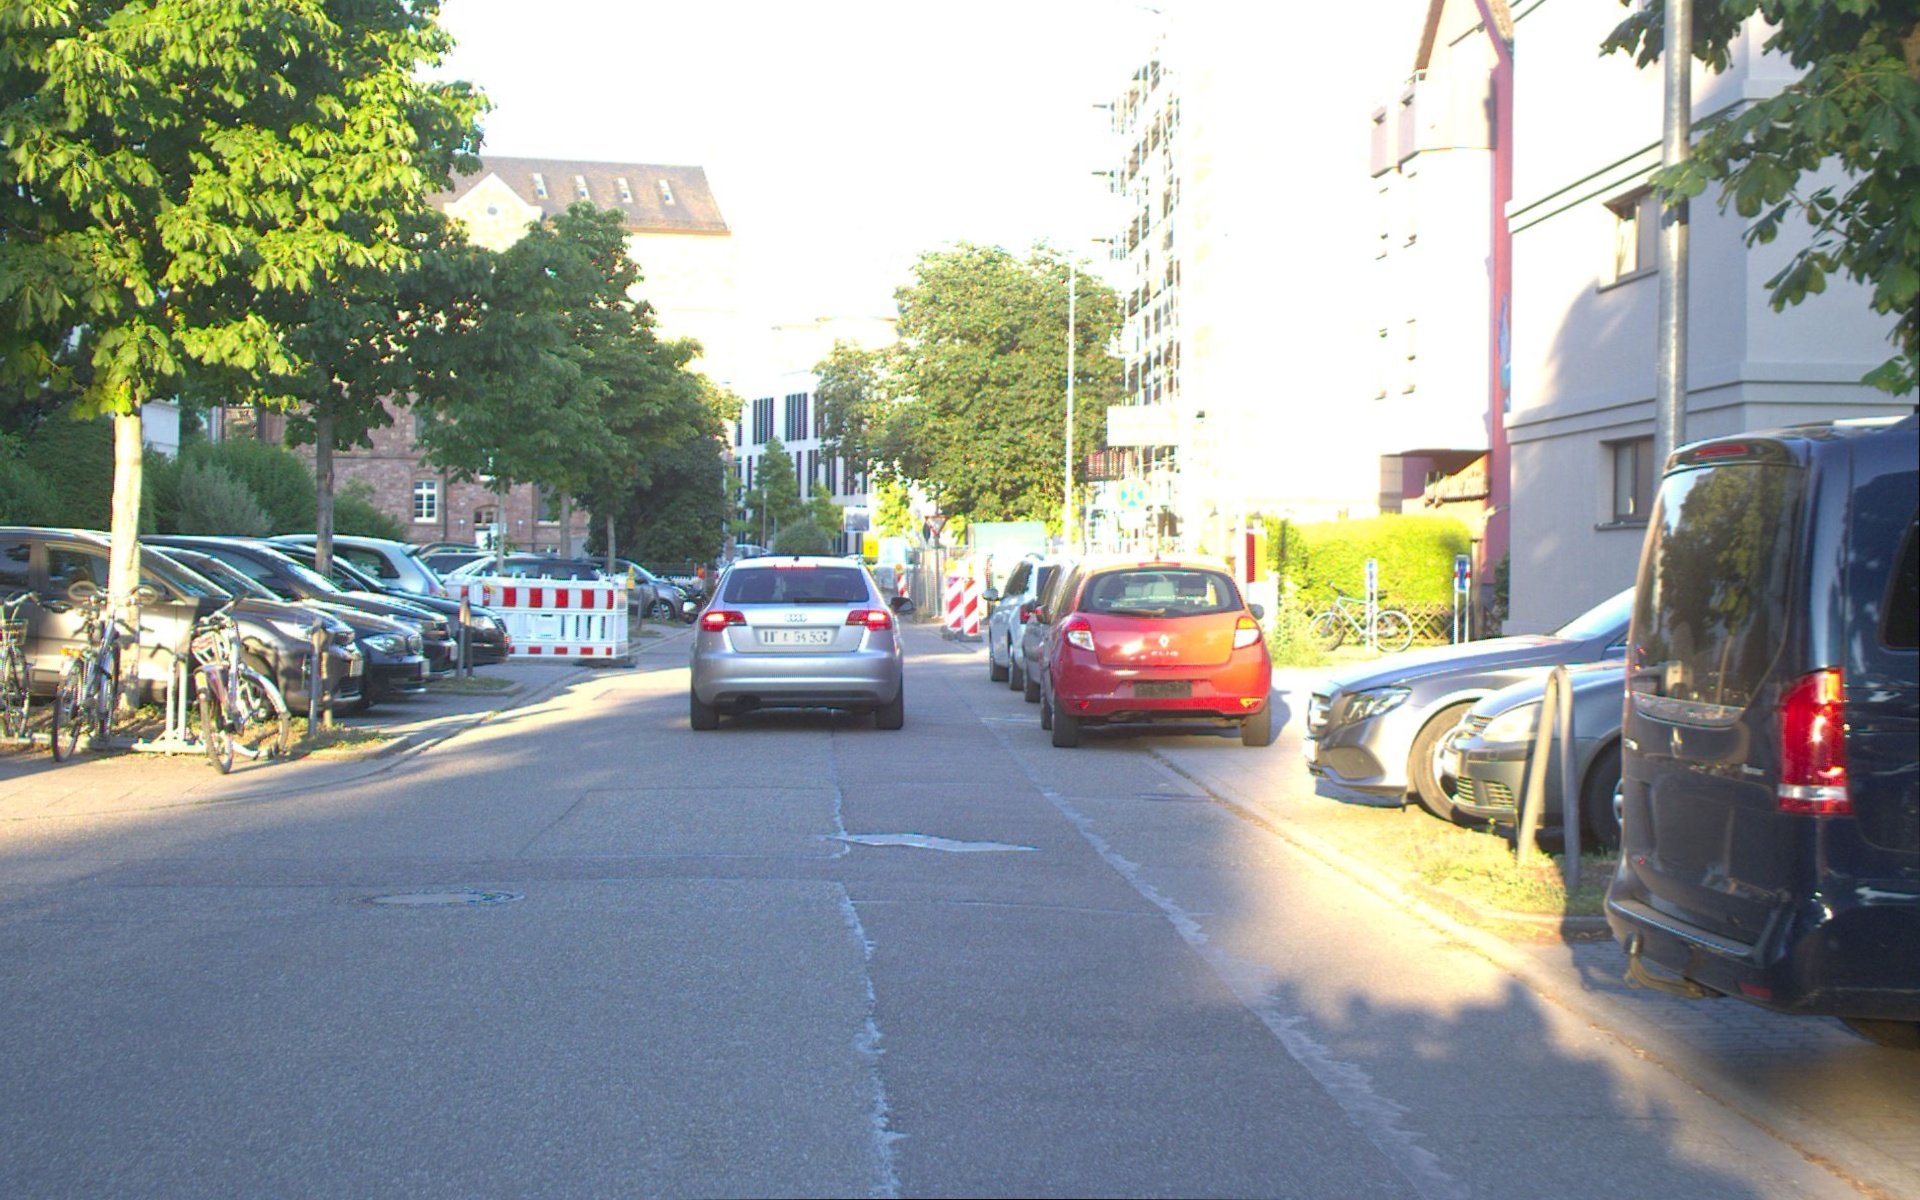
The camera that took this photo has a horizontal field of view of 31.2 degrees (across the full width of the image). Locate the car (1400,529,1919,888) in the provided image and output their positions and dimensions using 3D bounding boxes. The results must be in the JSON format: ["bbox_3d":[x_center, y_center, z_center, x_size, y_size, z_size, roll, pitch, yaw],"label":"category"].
[{"bbox_3d":[4.379,0.513,17.137,3.938,1.643,1.977,1,1,-6],"label":"car"}]

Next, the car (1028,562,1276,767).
[{"bbox_3d":[1.483,0.465,27.679,1.730,1.478,3.558,1,1,0],"label":"car"}]

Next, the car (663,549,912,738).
[{"bbox_3d":[-1.525,0.324,29.065,1.807,1.483,4.001,0,0,-7],"label":"car"}]

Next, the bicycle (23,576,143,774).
[{"bbox_3d":[-5.802,0.470,22.807,0.406,1.223,1.987,1,1,-4],"label":"bicycle"}]

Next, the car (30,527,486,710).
[{"bbox_3d":[-6.591,0.158,32.635,3.986,1.600,1.873,1,1,-3],"label":"car"}]

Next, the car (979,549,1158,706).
[{"bbox_3d":[1.155,0.265,38.070,1.808,1.607,3.581,1,1,0],"label":"car"}]

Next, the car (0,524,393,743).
[{"bbox_3d":[-6.650,0.233,27.417,3.986,1.620,2.000,1,1,-3],"label":"car"}]

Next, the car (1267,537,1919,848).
[{"bbox_3d":[3.985,0.473,19.587,4.148,1.566,1.798,-2,1,-6],"label":"car"}]

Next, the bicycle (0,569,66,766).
[{"bbox_3d":[-6.341,0.423,22.826,0.406,1.223,1.987,1,1,-4],"label":"bicycle"}]

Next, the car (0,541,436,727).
[{"bbox_3d":[-6.687,0.274,29.989,3.986,1.475,2.000,1,1,-3],"label":"car"}]

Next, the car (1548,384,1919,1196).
[{"bbox_3d":[4.191,0.502,9.752,4.556,2.016,2.101,1,1,-4],"label":"car"}]

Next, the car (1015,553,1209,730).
[{"bbox_3d":[1.418,0.355,33.189,1.664,1.568,3.441,1,1,0],"label":"car"}]

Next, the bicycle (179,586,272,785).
[{"bbox_3d":[-4.857,0.537,22.794,0.406,1.223,1.988,1,1,-7],"label":"bicycle"}]
